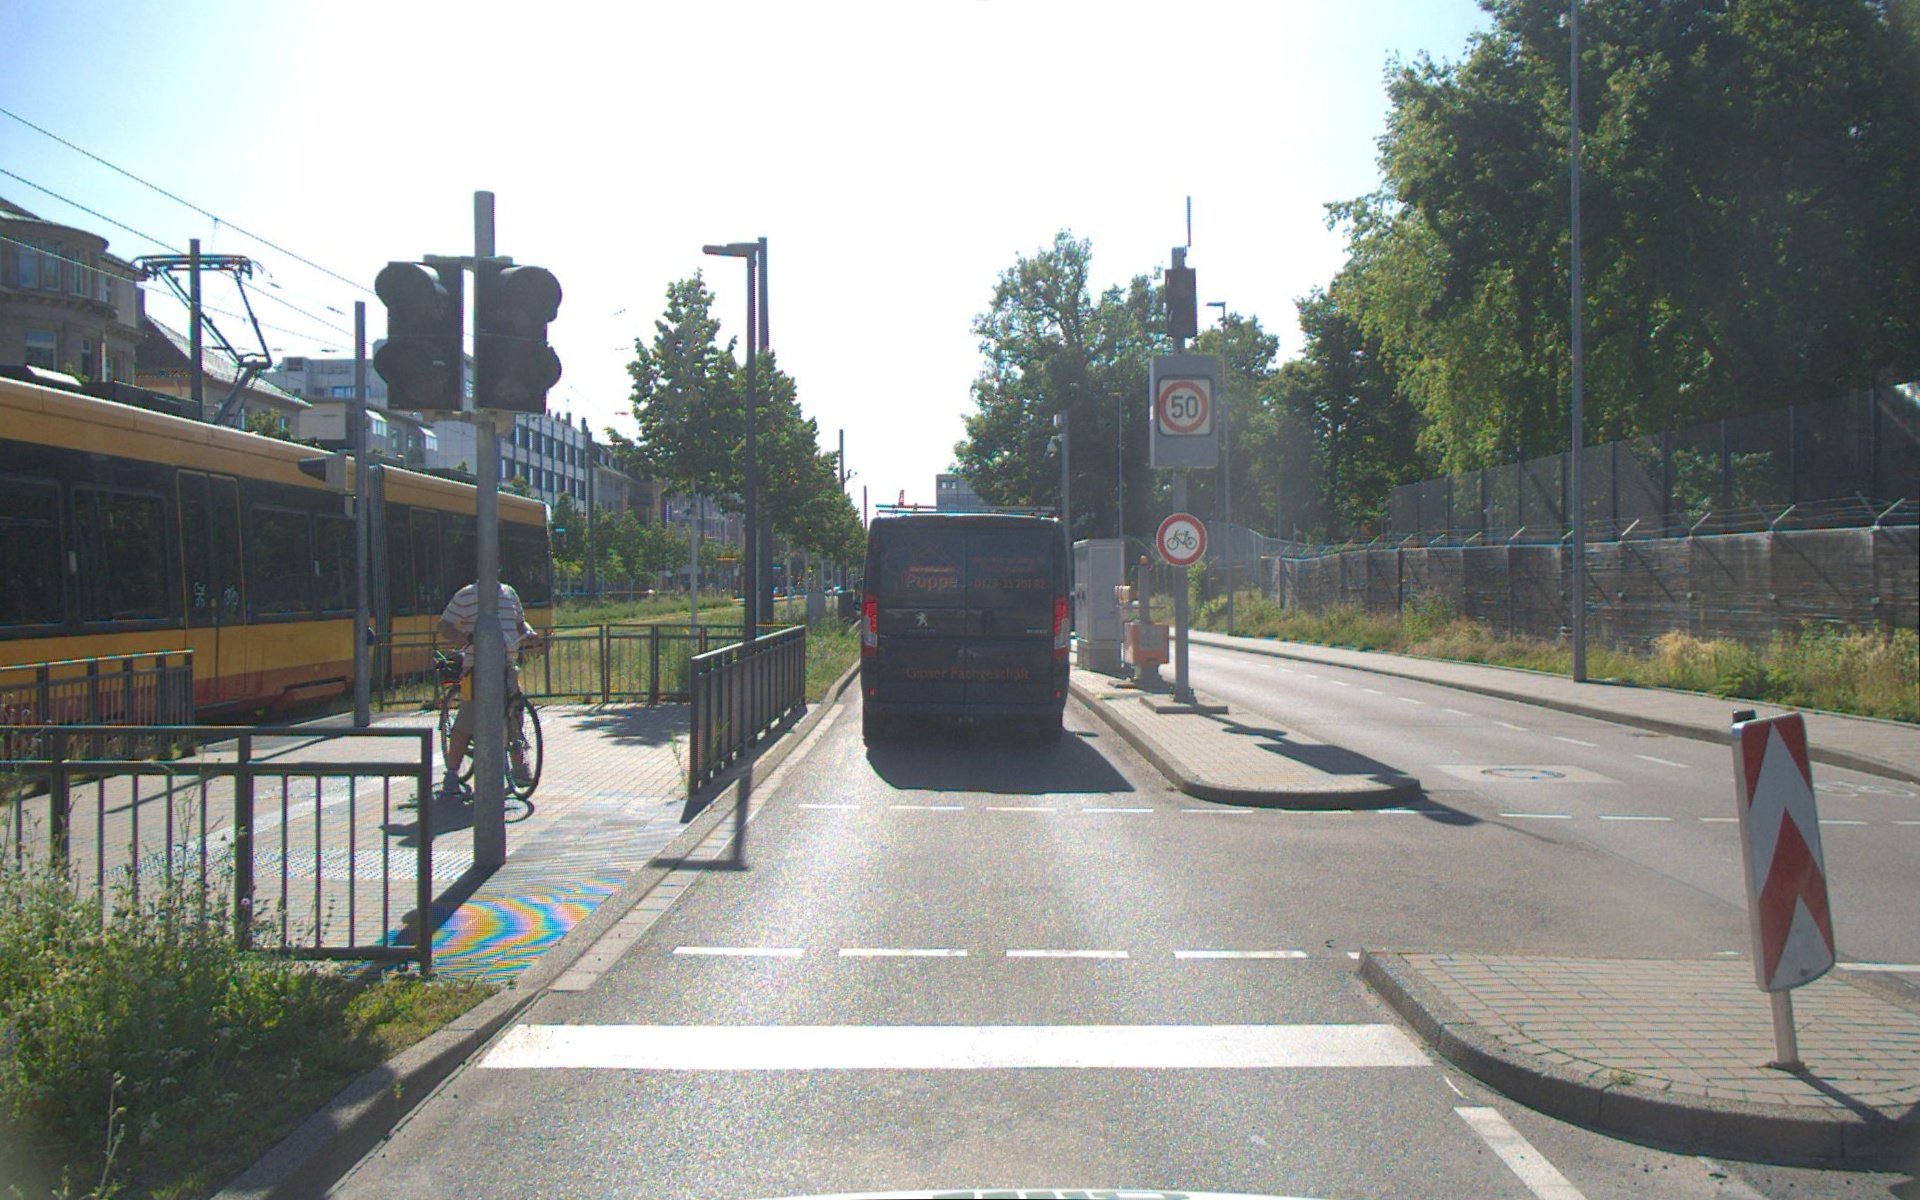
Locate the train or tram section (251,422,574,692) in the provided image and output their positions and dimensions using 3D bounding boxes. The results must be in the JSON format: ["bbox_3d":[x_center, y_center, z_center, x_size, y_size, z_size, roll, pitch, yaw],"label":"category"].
[{"bbox_3d":[-8.960,-0.632,28.786,1.953,3.733,11.681,0,0,-1],"label":"train or tram section"}]

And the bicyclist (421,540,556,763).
[{"bbox_3d":[-3.398,0.352,11.910,0.816,1.539,0.723,0,0,-27],"label":"bicyclist"}]

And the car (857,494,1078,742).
[{"bbox_3d":[0.010,0.160,17.318,2.040,2.288,3.999,0,0,-2],"label":"car"}]

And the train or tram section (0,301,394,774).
[{"bbox_3d":[-8.680,-0.523,17.300,1.953,3.733,11.312,0,0,-2],"label":"train or tram section"}]

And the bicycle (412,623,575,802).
[{"bbox_3d":[-3.368,0.745,11.801,0.724,1.110,2.064,0,0,-27],"label":"bicycle"}]

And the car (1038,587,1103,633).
[{"bbox_3d":[3.701,0.318,55.988,1.728,1.488,3.997,0,0,-3],"label":"car"}]
